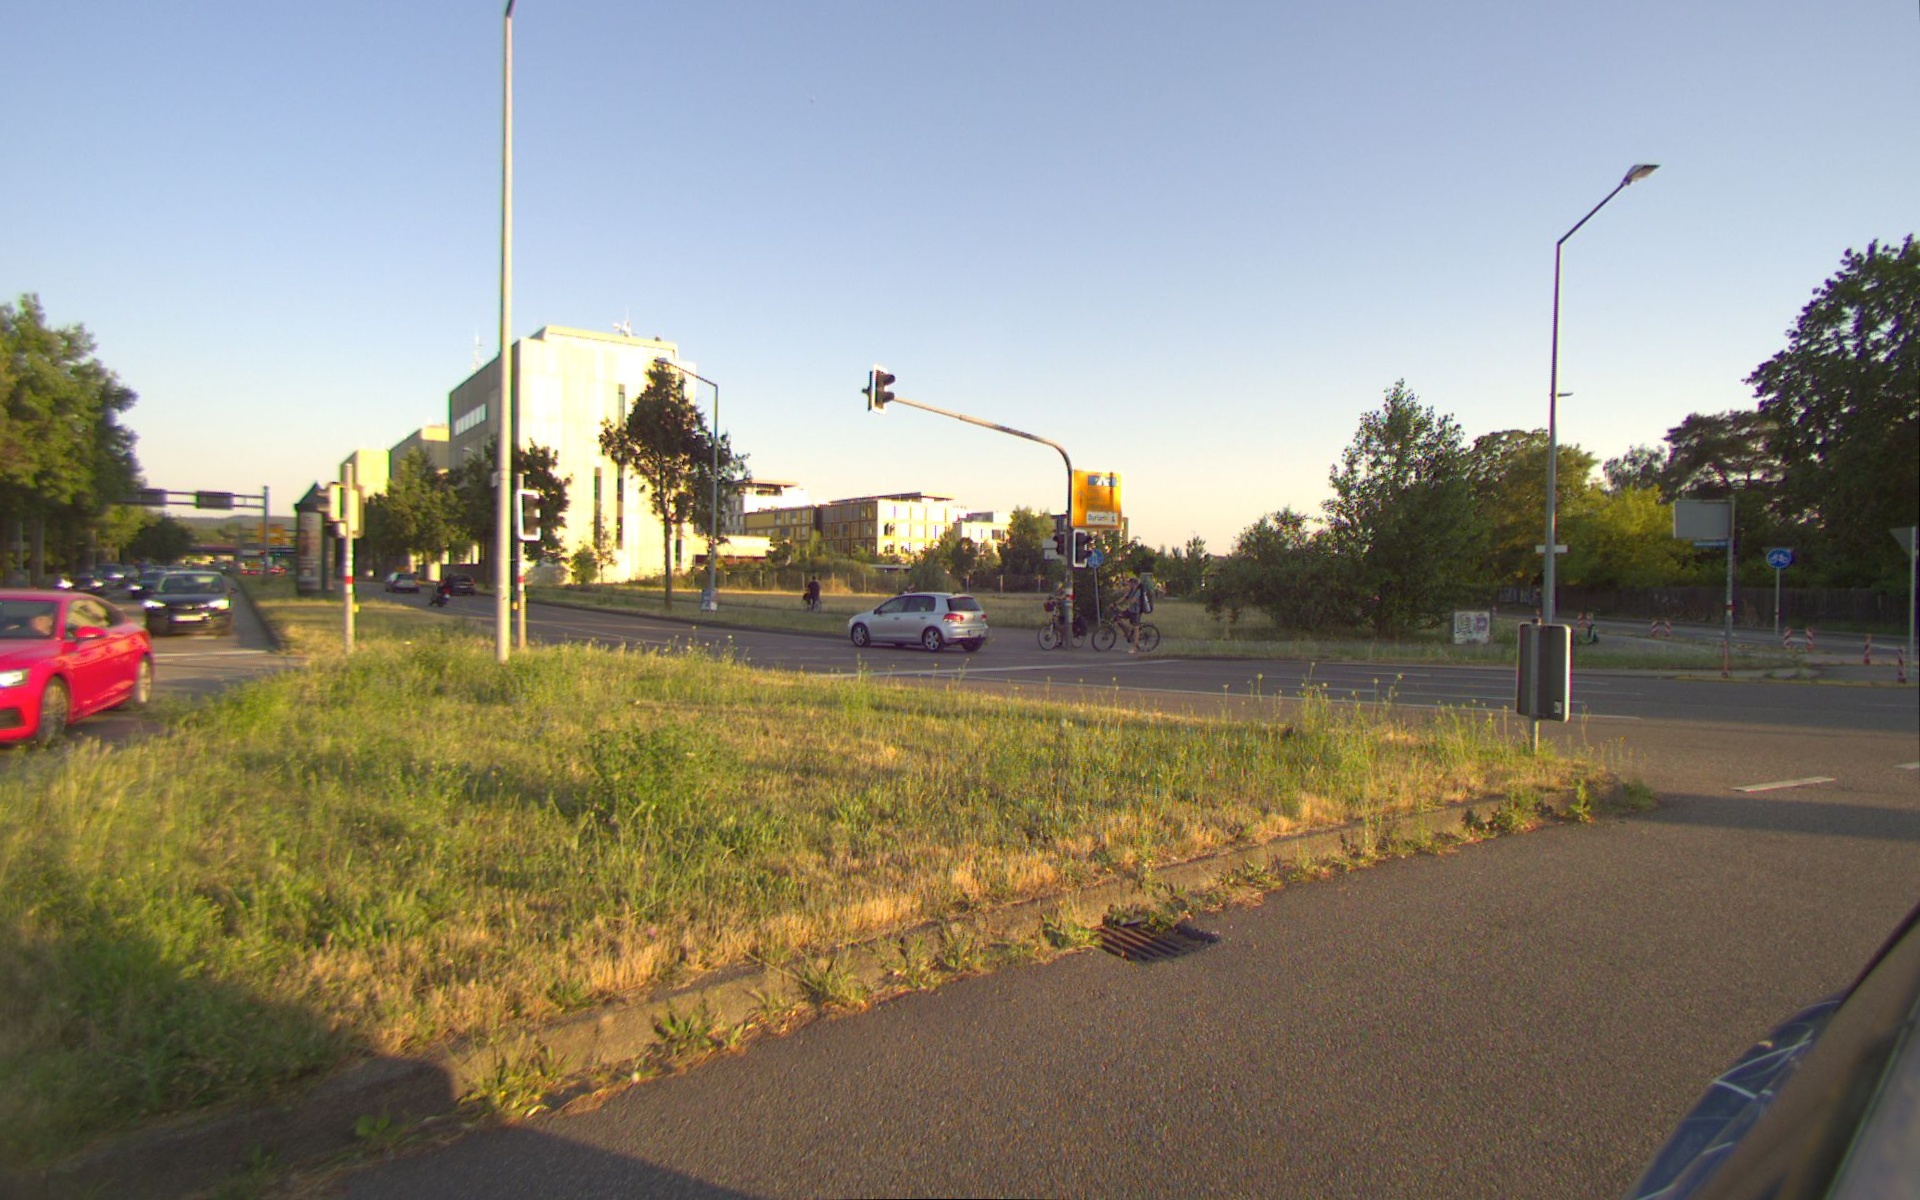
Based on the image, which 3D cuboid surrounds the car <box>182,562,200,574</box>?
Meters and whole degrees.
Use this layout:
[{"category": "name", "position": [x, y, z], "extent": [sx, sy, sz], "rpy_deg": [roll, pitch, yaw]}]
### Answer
[{"category": "car", "position": [-92.003, -3.850, 121.122], "extent": [1.589, 1.471, 3.716], "rpy_deg": [-1, 2, -36]}]

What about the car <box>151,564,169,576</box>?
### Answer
[{"category": "car", "position": [-100.075, -3.782, 126.672], "extent": [1.589, 1.471, 3.716], "rpy_deg": [-1, 2, -36]}]

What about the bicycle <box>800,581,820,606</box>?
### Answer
[{"category": "bicycle", "position": [-6.813, -0.285, 45.910], "extent": [0.275, 1.102, 1.372], "rpy_deg": [1, 1, -37]}]

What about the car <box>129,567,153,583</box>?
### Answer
[{"category": "car", "position": [-77.718, -2.370, 96.039], "extent": [1.589, 1.537, 3.716], "rpy_deg": [-1, 2, -36]}]

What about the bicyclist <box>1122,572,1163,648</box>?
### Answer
[{"category": "bicyclist", "position": [4.722, 0.234, 26.173], "extent": [0.894, 1.921, 0.640], "rpy_deg": [-2, 2, -40]}]

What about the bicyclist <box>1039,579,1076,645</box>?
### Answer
[{"category": "bicyclist", "position": [2.627, 0.313, 27.161], "extent": [0.757, 1.722, 0.640], "rpy_deg": [-3, 3, -40]}]

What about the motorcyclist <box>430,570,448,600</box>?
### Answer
[{"category": "motorcyclist", "position": [-24.810, -0.708, 48.184], "extent": [0.624, 1.434, 0.714], "rpy_deg": [0, 1, -37]}]

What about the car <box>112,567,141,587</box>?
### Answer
[{"category": "car", "position": [-67.490, -1.885, 81.970], "extent": [1.589, 1.537, 3.716], "rpy_deg": [-1, 2, -36]}]

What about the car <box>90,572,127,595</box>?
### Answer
[{"category": "car", "position": [-57.415, -1.124, 68.278], "extent": [1.589, 1.537, 3.716], "rpy_deg": [-1, 2, -36]}]

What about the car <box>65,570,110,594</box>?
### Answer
[{"category": "car", "position": [-48.651, -1.022, 56.492], "extent": [1.589, 1.325, 3.716], "rpy_deg": [-1, 2, -36]}]

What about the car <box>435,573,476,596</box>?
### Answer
[{"category": "car", "position": [-34.898, -1.092, 69.963], "extent": [1.770, 1.482, 3.998], "rpy_deg": [1, 1, -37]}]

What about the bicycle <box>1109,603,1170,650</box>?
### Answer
[{"category": "bicycle", "position": [4.655, 0.672, 26.195], "extent": [1.894, 1.098, 0.456], "rpy_deg": [-2, 2, -40]}]

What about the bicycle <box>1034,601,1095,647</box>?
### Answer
[{"category": "bicycle", "position": [2.824, 0.636, 27.235], "extent": [1.894, 1.098, 0.456], "rpy_deg": [-3, 3, -40]}]

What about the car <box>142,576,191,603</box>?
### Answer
[{"category": "car", "position": [-41.775, -0.569, 53.346], "extent": [1.841, 1.325, 4.137], "rpy_deg": [-1, 2, -36]}]

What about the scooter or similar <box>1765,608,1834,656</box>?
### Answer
[{"category": "scooter or similar", "position": [21.210, 0.804, 25.583], "extent": [1.356, 1.177, 0.442], "rpy_deg": [1, 1, -2]}]

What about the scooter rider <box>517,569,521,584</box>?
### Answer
[{"category": "scooter rider", "position": [-39.793, -2.153, 91.316], "extent": [0.260, 1.356, 0.406], "rpy_deg": [1, 1, -37]}]

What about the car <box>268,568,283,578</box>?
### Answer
[{"category": "car", "position": [-110.421, -4.365, 163.223], "extent": [1.785, 1.544, 4.133], "rpy_deg": [1, 1, -38]}]

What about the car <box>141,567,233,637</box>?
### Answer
[{"category": "car", "position": [-19.504, 0.000, 25.561], "extent": [1.691, 1.633, 4.134], "rpy_deg": [-1, 1, -38]}]

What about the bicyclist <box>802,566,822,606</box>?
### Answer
[{"category": "bicyclist", "position": [-6.715, -0.632, 45.872], "extent": [0.527, 1.765, 0.843], "rpy_deg": [1, 1, -38]}]

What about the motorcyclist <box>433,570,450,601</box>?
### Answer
[{"category": "motorcyclist", "position": [-24.410, -0.692, 47.652], "extent": [0.624, 1.426, 0.594], "rpy_deg": [0, 1, -37]}]

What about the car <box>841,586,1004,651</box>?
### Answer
[{"category": "car", "position": [-1.021, 0.417, 26.390], "extent": [4.032, 1.499, 1.866], "rpy_deg": [2, 1, 39]}]

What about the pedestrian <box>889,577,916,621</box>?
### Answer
[{"category": "pedestrian", "position": [-2.092, -0.048, 36.548], "extent": [0.782, 1.569, 0.567], "rpy_deg": [0, 1, -37]}]

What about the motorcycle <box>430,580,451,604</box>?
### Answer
[{"category": "motorcycle", "position": [-24.660, -0.375, 47.997], "extent": [0.548, 1.114, 2.159], "rpy_deg": [0, 1, -37]}]

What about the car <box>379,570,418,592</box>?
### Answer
[{"category": "car", "position": [-39.426, -1.334, 70.988], "extent": [1.770, 1.440, 4.447], "rpy_deg": [1, 1, -37]}]

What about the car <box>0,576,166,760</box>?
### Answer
[{"category": "car", "position": [-9.423, 0.507, 9.834], "extent": [1.808, 1.479, 4.588], "rpy_deg": [1, 0, -27]}]

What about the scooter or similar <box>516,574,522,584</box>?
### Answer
[{"category": "scooter or similar", "position": [-39.801, -1.891, 91.353], "extent": [0.242, 0.925, 1.039], "rpy_deg": [1, 1, -37]}]
